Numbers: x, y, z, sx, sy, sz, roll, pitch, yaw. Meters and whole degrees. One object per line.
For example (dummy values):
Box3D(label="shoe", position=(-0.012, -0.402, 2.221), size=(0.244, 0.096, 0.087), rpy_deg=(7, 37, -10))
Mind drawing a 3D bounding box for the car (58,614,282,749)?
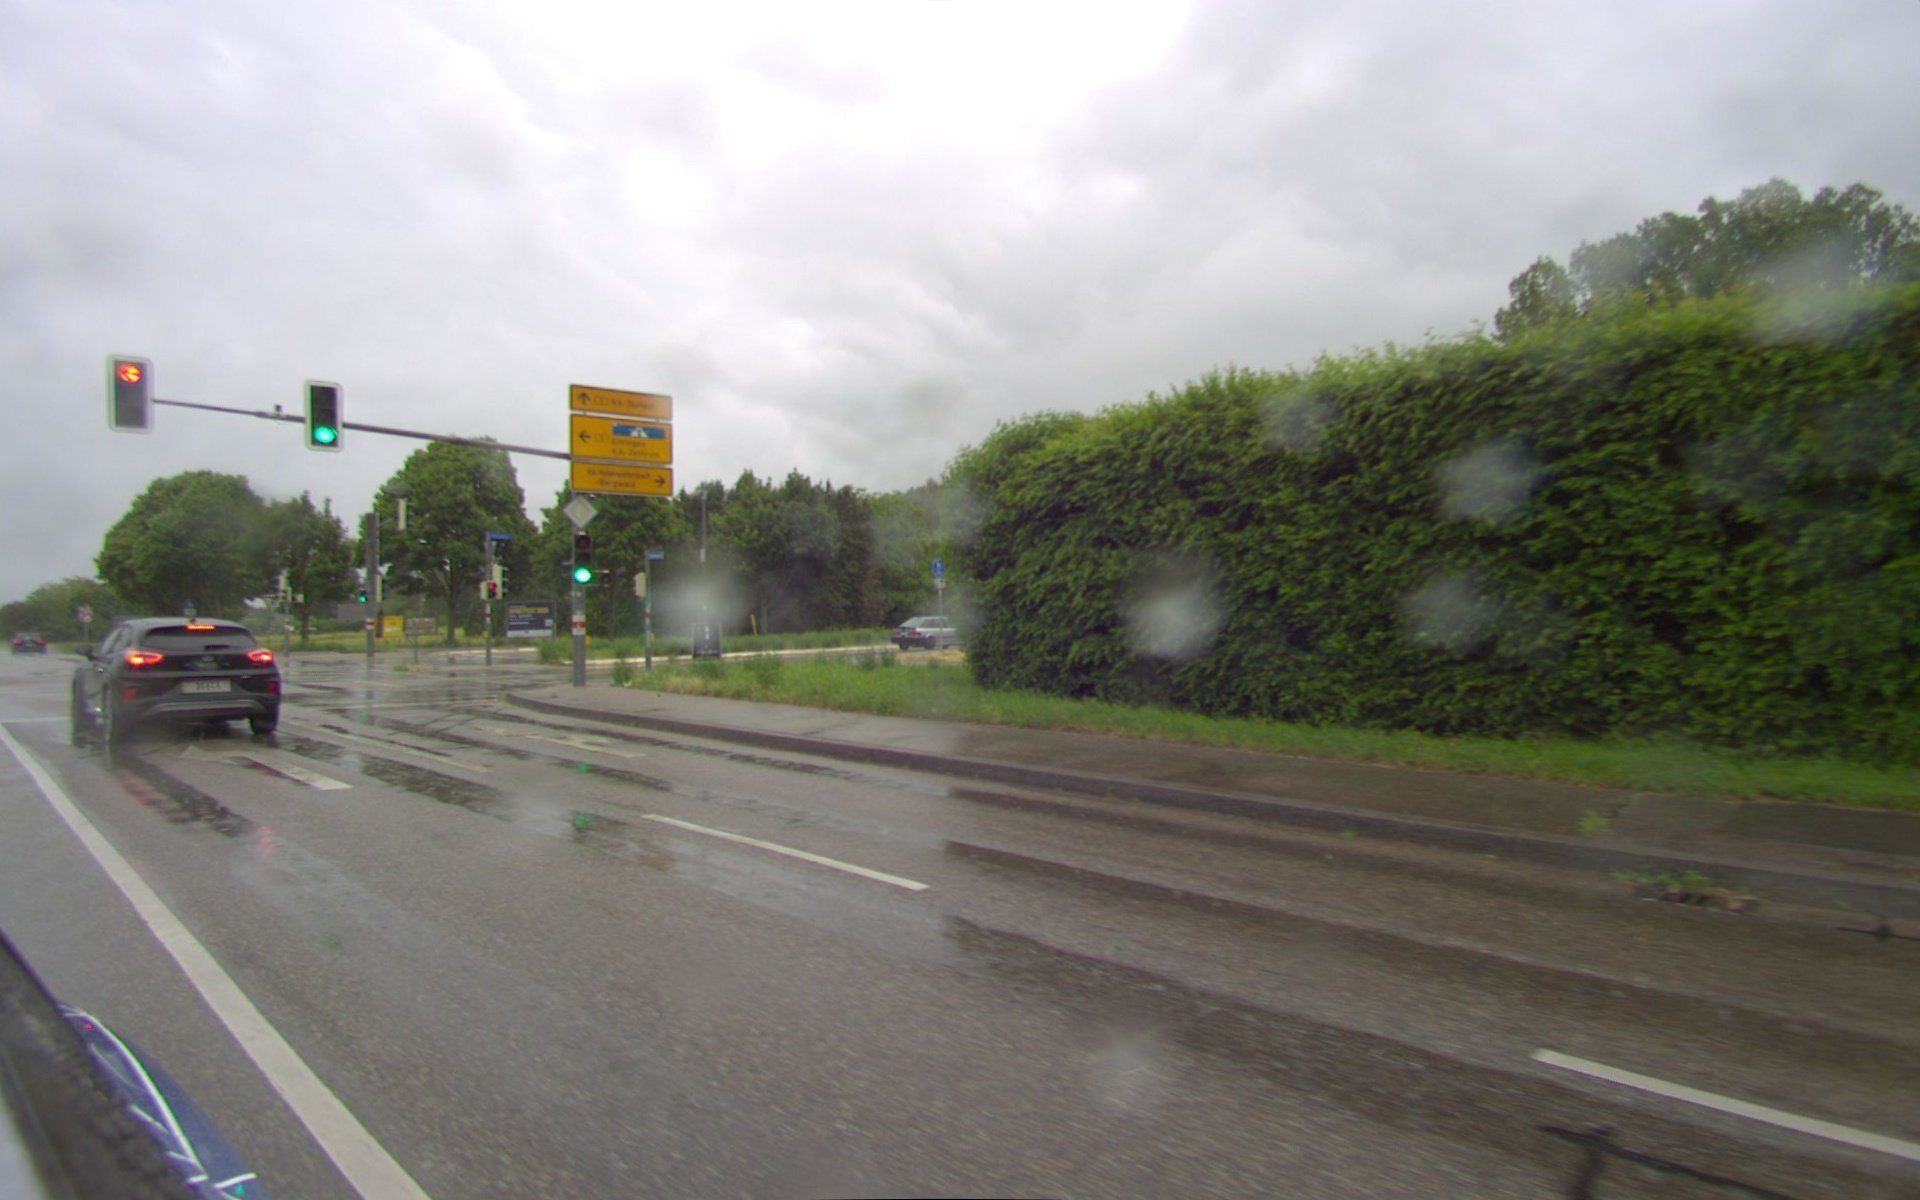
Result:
Box3D(label="car", position=(-10.693, 0.974, 13.608), size=(3.876, 1.549, 1.743), rpy_deg=(-1, -1, 42))

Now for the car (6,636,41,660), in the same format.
Box3D(label="car", position=(-64.314, 3.275, 69.499), size=(1.595, 1.530, 3.657), rpy_deg=(-1, 0, -45))

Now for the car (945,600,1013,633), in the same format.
Box3D(label="car", position=(1.170, 0.980, 61.979), size=(1.955, 1.892, 4.302), rpy_deg=(-1, 0, 38))

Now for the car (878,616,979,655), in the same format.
Box3D(label="car", position=(-1.276, 1.451, 42.389), size=(2.001, 1.530, 3.942), rpy_deg=(-1, -1, 44))
